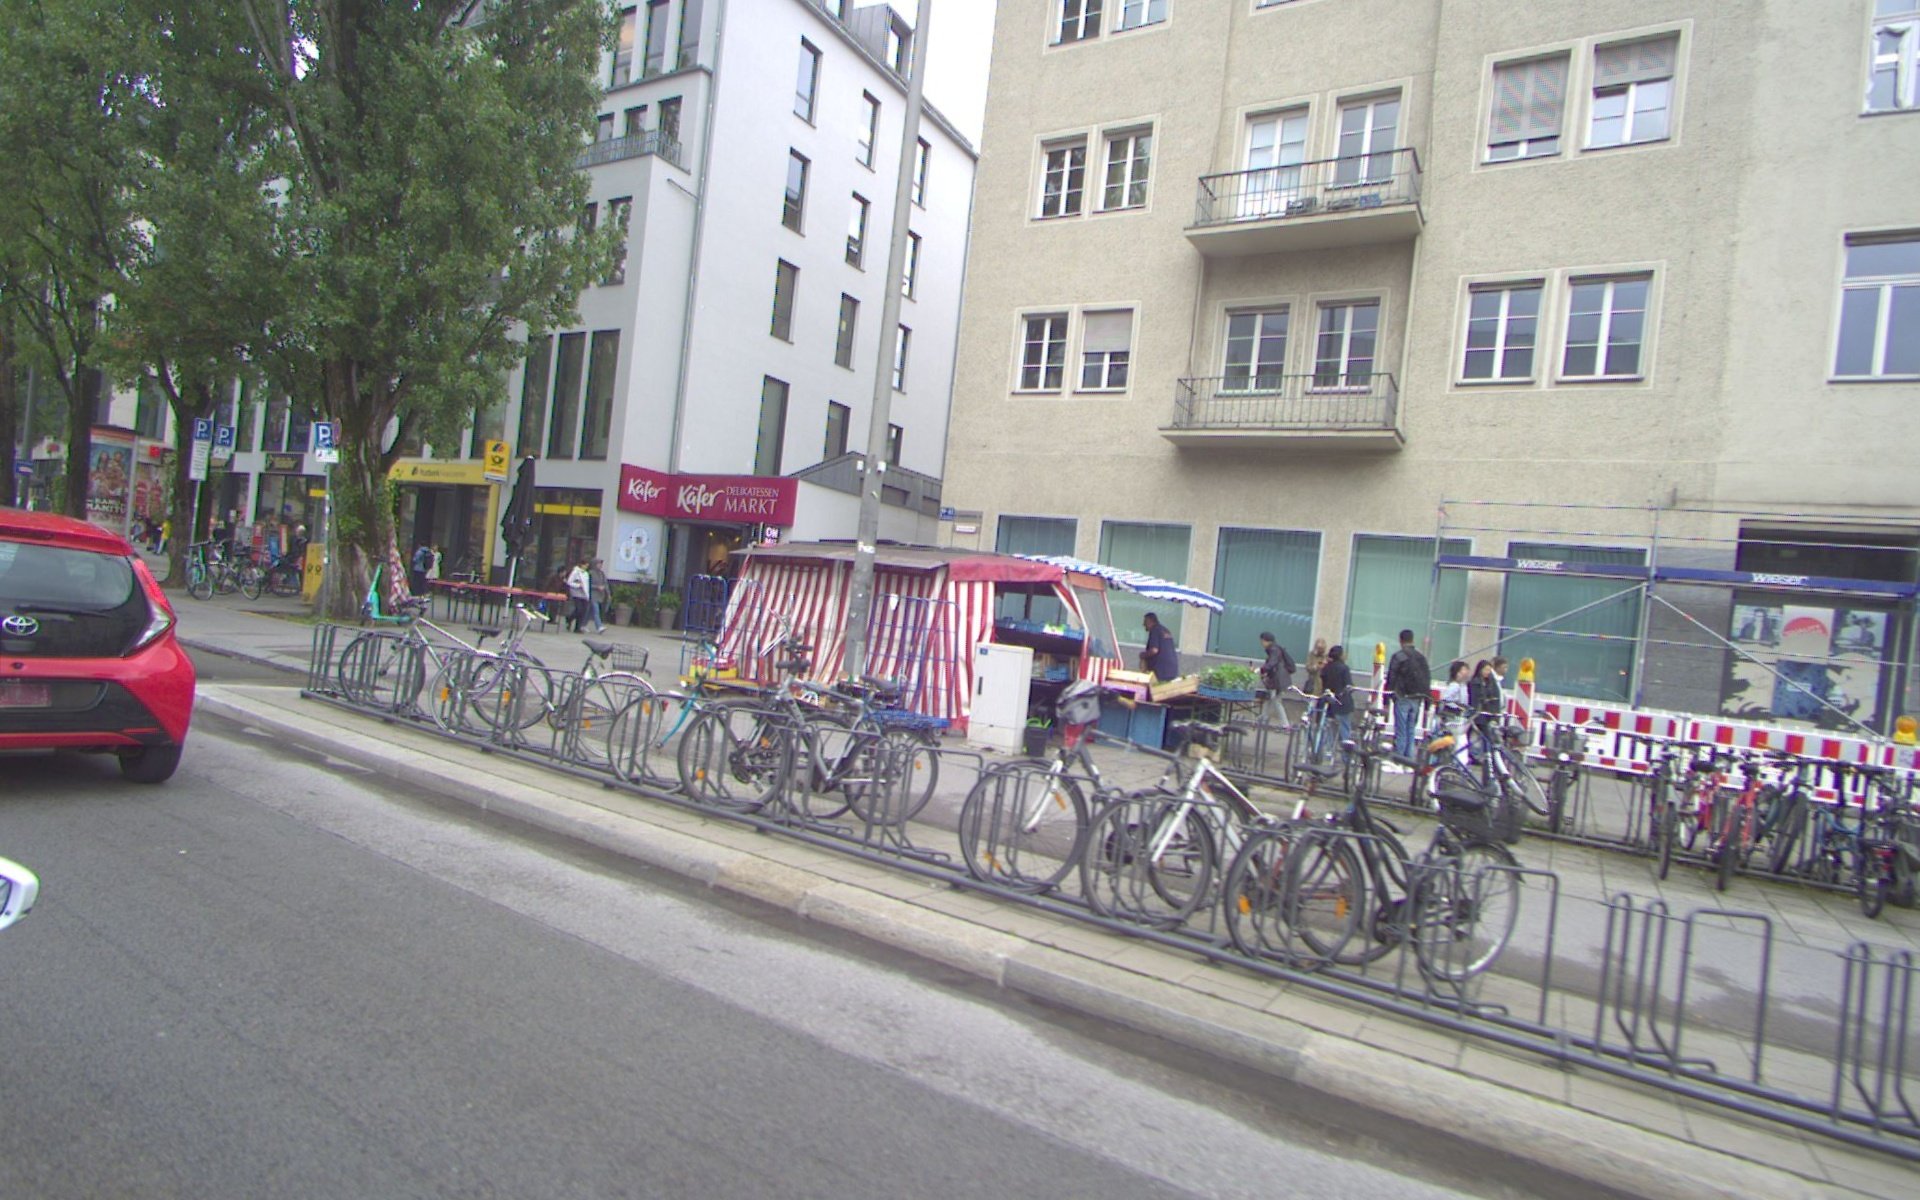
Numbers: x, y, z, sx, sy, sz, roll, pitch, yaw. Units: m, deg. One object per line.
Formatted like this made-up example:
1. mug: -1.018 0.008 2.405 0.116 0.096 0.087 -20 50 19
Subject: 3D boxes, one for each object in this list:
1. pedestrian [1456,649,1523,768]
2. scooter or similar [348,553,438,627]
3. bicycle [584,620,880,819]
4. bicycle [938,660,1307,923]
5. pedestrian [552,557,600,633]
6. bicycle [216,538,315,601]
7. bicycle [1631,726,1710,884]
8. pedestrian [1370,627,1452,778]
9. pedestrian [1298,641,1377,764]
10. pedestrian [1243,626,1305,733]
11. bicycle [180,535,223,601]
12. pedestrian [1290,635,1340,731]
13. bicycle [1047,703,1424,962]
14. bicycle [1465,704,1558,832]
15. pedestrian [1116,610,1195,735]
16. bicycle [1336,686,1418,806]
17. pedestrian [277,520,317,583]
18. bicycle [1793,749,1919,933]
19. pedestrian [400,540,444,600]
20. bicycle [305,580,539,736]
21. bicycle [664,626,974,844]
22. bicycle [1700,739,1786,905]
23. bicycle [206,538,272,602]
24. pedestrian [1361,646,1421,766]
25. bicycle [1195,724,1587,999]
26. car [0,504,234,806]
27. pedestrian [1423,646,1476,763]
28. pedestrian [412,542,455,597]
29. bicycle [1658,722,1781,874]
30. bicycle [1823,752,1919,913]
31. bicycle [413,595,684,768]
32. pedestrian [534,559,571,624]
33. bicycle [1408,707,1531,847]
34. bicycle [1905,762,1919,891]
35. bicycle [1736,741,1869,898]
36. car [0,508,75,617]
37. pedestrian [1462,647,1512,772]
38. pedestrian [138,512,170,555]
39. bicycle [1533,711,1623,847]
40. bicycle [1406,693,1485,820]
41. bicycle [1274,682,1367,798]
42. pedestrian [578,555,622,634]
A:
1. pedestrian: 7.884 1.607 14.985 0.533 1.694 0.503 7 -1 -20
2. scooter or similar: -9.913 -0.149 17.634 0.393 1.223 1.469 6 1 14
3. bicycle: -1.525 0.819 6.859 1.775 1.066 0.366 10 -2 -15
4. bicycle: 0.880 1.029 5.381 1.778 1.117 0.544 10 -2 -20
5. pedestrian: -8.521 -0.113 22.307 0.626 1.604 0.641 7 2 40
6. bicycle: -15.433 -0.669 22.383 0.696 1.174 1.624 7 0 45
7. bicycle: 5.954 1.662 8.411 0.404 1.091 1.477 6 1 37
8. pedestrian: 5.901 1.315 13.199 0.716 1.852 0.717 6 1 18
9. pedestrian: 5.123 1.373 13.635 0.718 1.547 0.677 7 1 34
10. pedestrian: 5.277 1.321 16.895 0.751 1.671 0.602 6 1 26
11. bicycle: -15.089 -0.646 19.996 0.475 1.174 1.804 6 0 -41
12. pedestrian: 6.295 1.460 17.825 0.598 1.623 0.465 7 1 29
13. bicycle: 1.381 1.158 4.948 1.778 1.021 0.384 10 -2 -20
14. bicycle: 5.563 1.639 10.110 0.404 1.117 1.626 7 1 40
15. pedestrian: 2.831 1.040 14.550 0.717 1.695 0.794 7 1 31
16. bicycle: 4.479 1.511 10.746 0.403 1.117 1.629 6 1 34
17. pedestrian: -19.302 -1.404 29.313 0.711 1.747 0.736 5 1 -21
18. bicycle: 6.874 1.771 7.595 0.403 1.091 1.451 6 1 23
19. pedestrian: -15.385 -0.865 28.760 0.760 1.605 0.691 7 1 32
20. bicycle: -4.529 0.496 8.579 1.555 1.066 0.544 10 -2 -20
21. bicycle: -0.907 0.881 6.535 1.778 1.117 0.544 10 -2 -20
22. bicycle: 6.265 1.719 8.033 0.404 1.091 1.446 7 1 39
23. bicycle: -15.058 -0.630 20.991 1.607 1.174 0.478 7 0 33
24. pedestrian: 6.025 1.461 14.085 0.543 1.585 0.653 6 1 17
25. bicycle: 2.015 1.223 4.641 1.778 1.021 0.384 10 -2 -20
26. car: -6.066 0.144 5.924 3.538 1.463 1.667 5 -2 34
27. pedestrian: 6.877 1.462 14.128 0.458 1.558 0.559 6 -1 33
28. pedestrian: -15.732 -0.910 30.068 0.697 1.555 0.765 6 1 31
29. bicycle: 6.979 1.772 9.313 0.403 1.117 1.633 6 1 22
30. bicycle: 7.877 1.930 8.472 0.403 1.091 1.451 6 1 23
31. bicycle: -3.183 0.644 7.926 1.778 1.066 0.544 10 -2 -20
32. pedestrian: -9.927 -0.207 24.534 0.640 1.494 0.757 7 -1 -20
33. bicycle: 4.516 1.514 8.876 1.464 1.091 0.405 5 1 -43
34. bicycle: 8.400 1.983 8.234 0.403 1.091 1.451 6 1 23
35. bicycle: 7.430 1.894 8.929 0.403 1.091 1.451 6 1 23
36. car: -15.265 -0.744 15.335 4.083 1.470 1.727 6 -2 36
37. pedestrian: 7.526 1.555 14.383 0.464 1.692 0.526 6 -1 25
38. pedestrian: -31.706 -2.612 39.572 0.664 1.596 0.565 6 1 9
39. bicycle: 5.970 1.671 9.678 0.404 1.117 1.626 7 1 40
40. bicycle: 4.990 1.555 10.292 0.403 1.117 1.629 6 1 34
41. bicycle: 3.931 1.473 10.900 0.404 1.117 1.628 6 1 37
42. pedestrian: -8.180 -0.125 22.874 0.588 1.723 0.578 7 2 40
